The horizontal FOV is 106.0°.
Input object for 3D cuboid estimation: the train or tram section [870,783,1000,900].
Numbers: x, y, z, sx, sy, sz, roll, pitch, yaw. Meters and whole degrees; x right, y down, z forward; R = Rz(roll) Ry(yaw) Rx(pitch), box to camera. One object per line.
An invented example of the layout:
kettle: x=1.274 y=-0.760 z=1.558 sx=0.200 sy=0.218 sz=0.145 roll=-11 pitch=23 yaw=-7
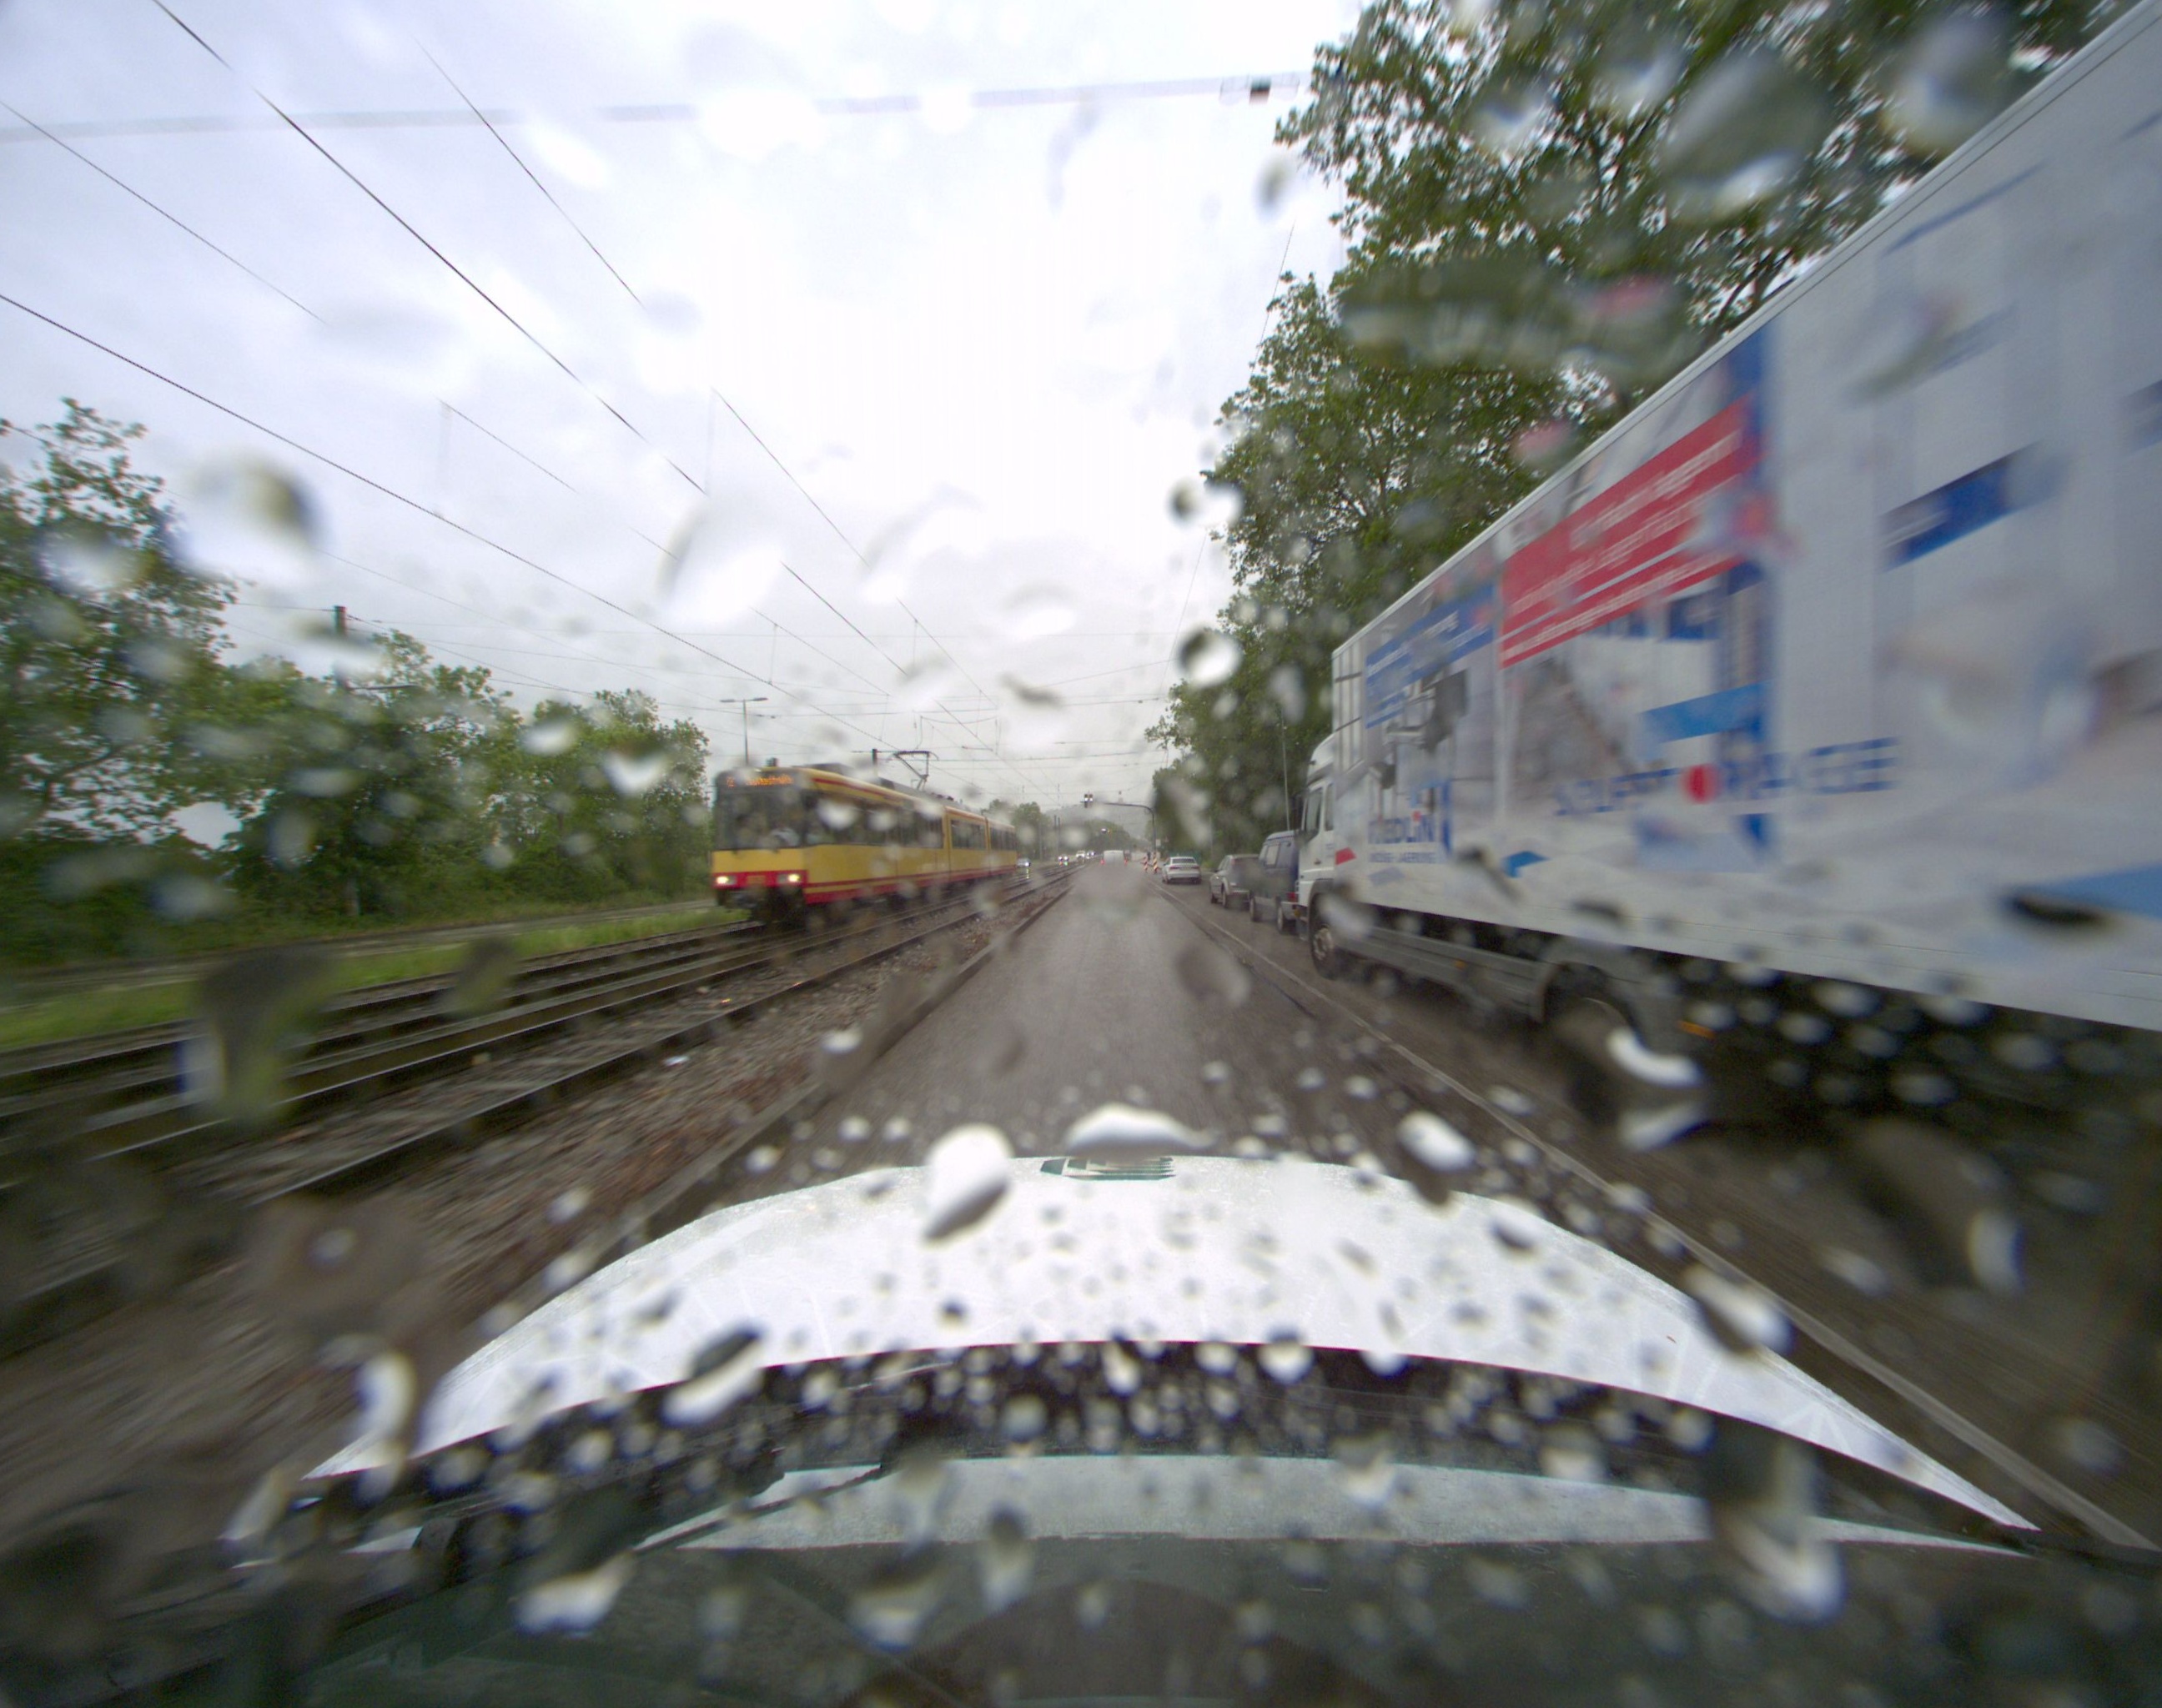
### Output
train or tram section: x=-5.915 y=-0.391 z=35.837 sx=2.795 sy=4.150 sz=13.025 roll=-1 pitch=0 yaw=2

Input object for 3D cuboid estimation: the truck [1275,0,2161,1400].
truck: x=4.138 y=-0.427 z=6.630 sx=2.766 sy=3.704 sz=9.851 roll=-1 pitch=-1 yaw=0

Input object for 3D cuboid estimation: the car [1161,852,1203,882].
car: x=5.267 y=0.664 z=42.975 sx=1.812 sy=1.486 sz=4.483 roll=0 pitch=0 yaw=2

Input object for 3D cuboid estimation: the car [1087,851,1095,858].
car: x=2.750 y=0.233 z=230.586 sx=1.985 sy=1.948 sz=4.003 roll=-1 pitch=-1 yaw=3

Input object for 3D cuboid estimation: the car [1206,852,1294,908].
car: x=4.803 y=0.711 z=23.745 sx=1.806 sy=1.459 sz=4.348 roll=0 pitch=-1 yaw=2

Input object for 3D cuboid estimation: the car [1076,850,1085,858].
car: x=-0.178 y=0.038 z=204.279 sx=1.985 sy=2.014 sz=4.003 roll=-1 pitch=-1 yaw=3

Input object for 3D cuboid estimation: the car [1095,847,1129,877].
car: x=2.039 y=0.524 z=54.556 sx=1.988 sy=1.849 sz=3.997 roll=-1 pitch=0 yaw=-2

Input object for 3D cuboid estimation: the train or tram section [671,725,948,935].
train or tram section: x=-6.496 y=-0.467 z=22.779 sx=2.795 sy=4.149 sz=13.027 roll=-1 pitch=0 yaw=2

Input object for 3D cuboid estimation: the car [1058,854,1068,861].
car: x=-3.803 y=0.752 z=169.258 sx=1.812 sy=1.398 sz=4.002 roll=-2 pitch=0 yaw=2

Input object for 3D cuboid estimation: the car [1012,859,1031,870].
car: x=-7.949 y=1.379 z=109.363 sx=1.986 sy=1.404 sz=5.388 roll=-2 pitch=0 yaw=2

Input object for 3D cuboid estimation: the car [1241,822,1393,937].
car: x=4.650 y=0.447 z=16.847 sx=1.869 sy=2.013 sz=4.982 roll=0 pitch=0 yaw=2

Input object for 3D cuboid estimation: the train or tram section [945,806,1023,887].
train or tram section: x=-5.410 y=-0.324 z=47.466 sx=2.799 sy=4.150 sz=10.275 roll=-1 pitch=-1 yaw=3
